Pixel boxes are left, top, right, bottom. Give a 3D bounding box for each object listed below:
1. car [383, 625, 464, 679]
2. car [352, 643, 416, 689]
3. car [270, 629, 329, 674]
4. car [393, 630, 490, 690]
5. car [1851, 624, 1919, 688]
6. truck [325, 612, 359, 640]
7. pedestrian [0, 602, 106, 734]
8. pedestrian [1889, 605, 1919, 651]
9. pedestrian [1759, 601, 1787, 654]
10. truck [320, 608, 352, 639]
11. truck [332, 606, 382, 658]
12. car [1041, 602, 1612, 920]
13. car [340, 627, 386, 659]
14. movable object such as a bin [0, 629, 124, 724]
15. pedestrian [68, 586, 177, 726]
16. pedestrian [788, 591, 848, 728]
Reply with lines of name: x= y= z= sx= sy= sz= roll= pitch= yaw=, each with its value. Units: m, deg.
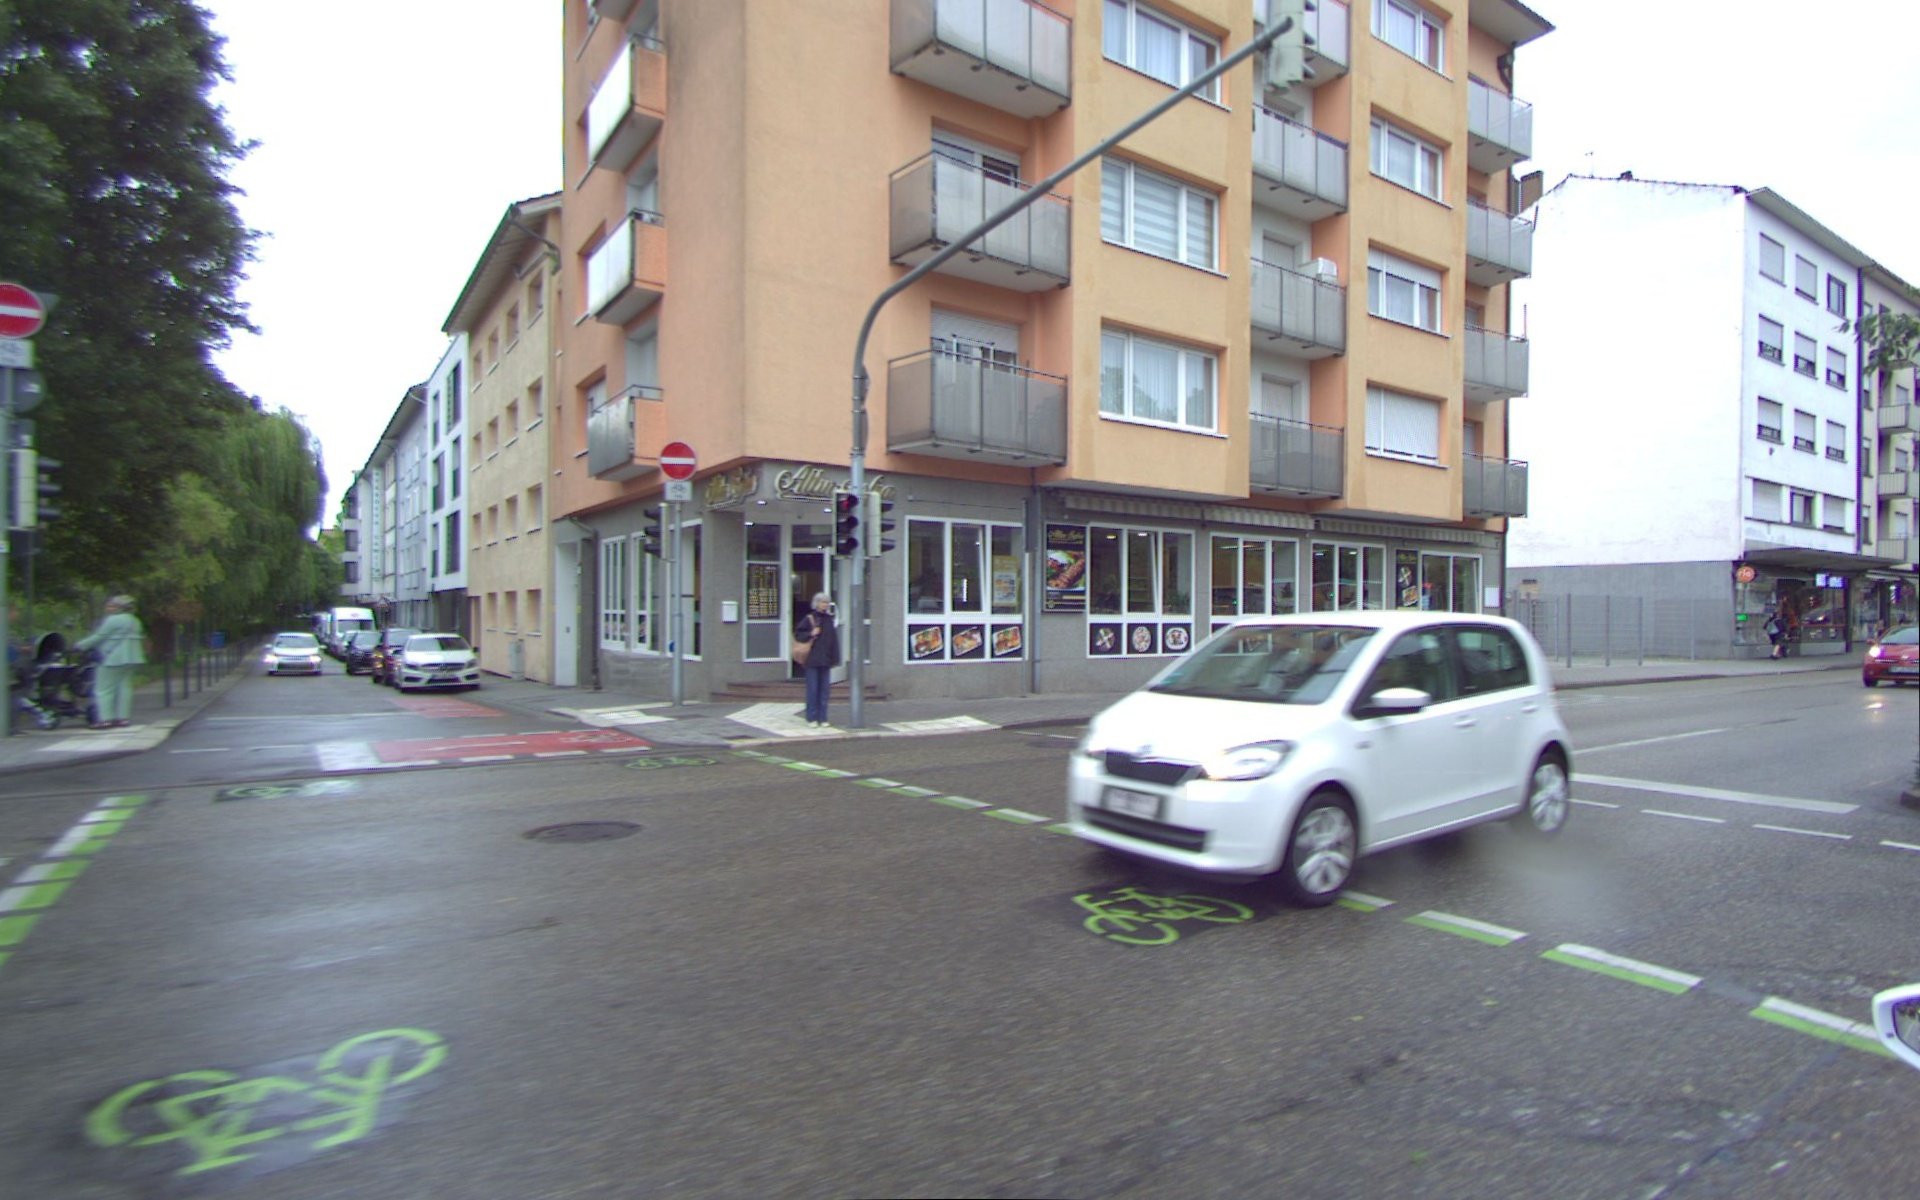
car: x=-16.302 y=1.524 z=30.422 sx=1.878 sy=1.406 sz=3.964 roll=0 pitch=0 yaw=-33
car: x=-21.475 y=2.402 z=37.395 sx=1.878 sy=1.406 sz=3.964 roll=1 pitch=0 yaw=-33
car: x=-24.108 y=1.833 z=36.729 sx=1.704 sy=1.406 sz=3.964 roll=0 pitch=0 yaw=-33
car: x=-13.386 y=1.472 z=25.818 sx=1.878 sy=1.406 sz=3.965 roll=0 pitch=-2 yaw=-33
car: x=22.785 y=1.284 z=23.811 sx=3.837 sy=1.418 sz=1.654 roll=1 pitch=-1 yaw=-35
truck: x=-37.634 y=1.564 z=61.108 sx=1.584 sy=1.530 sz=3.565 roll=1 pitch=0 yaw=-34
pedestrian: x=-10.559 y=0.772 z=11.591 sx=0.784 sy=1.464 sz=0.654 roll=1 pitch=-2 yaw=-1
pedestrian: x=42.925 y=1.257 z=45.644 sx=0.714 sy=2.040 sz=0.657 roll=4 pitch=1 yaw=23
pedestrian: x=29.177 y=0.970 z=36.063 sx=0.518 sy=1.886 sz=0.635 roll=0 pitch=1 yaw=-35
truck: x=-44.415 y=1.666 z=71.486 sx=1.878 sy=2.012 sz=5.334 roll=1 pitch=0 yaw=-33
truck: x=-33.536 y=1.734 z=55.812 sx=2.085 sy=2.663 sz=4.614 roll=1 pitch=0 yaw=-34
car: x=2.385 y=0.753 z=6.318 sx=3.506 sy=1.469 sz=1.644 roll=0 pitch=0 yaw=-34
car: x=-30.582 y=2.158 z=51.428 sx=1.878 sy=1.406 sz=3.964 roll=1 pitch=0 yaw=-33
movable object such as a bin: x=-11.251 y=0.940 z=12.565 sx=0.866 sy=1.126 sz=0.800 roll=1 pitch=-2 yaw=0
pedestrian: x=-10.480 y=0.690 z=12.593 sx=0.609 sy=1.685 sz=0.800 roll=1 pitch=-2 yaw=1
pedestrian: x=-1.880 y=0.767 z=13.286 sx=0.641 sy=1.750 sz=0.528 roll=0 pitch=0 yaw=-30
